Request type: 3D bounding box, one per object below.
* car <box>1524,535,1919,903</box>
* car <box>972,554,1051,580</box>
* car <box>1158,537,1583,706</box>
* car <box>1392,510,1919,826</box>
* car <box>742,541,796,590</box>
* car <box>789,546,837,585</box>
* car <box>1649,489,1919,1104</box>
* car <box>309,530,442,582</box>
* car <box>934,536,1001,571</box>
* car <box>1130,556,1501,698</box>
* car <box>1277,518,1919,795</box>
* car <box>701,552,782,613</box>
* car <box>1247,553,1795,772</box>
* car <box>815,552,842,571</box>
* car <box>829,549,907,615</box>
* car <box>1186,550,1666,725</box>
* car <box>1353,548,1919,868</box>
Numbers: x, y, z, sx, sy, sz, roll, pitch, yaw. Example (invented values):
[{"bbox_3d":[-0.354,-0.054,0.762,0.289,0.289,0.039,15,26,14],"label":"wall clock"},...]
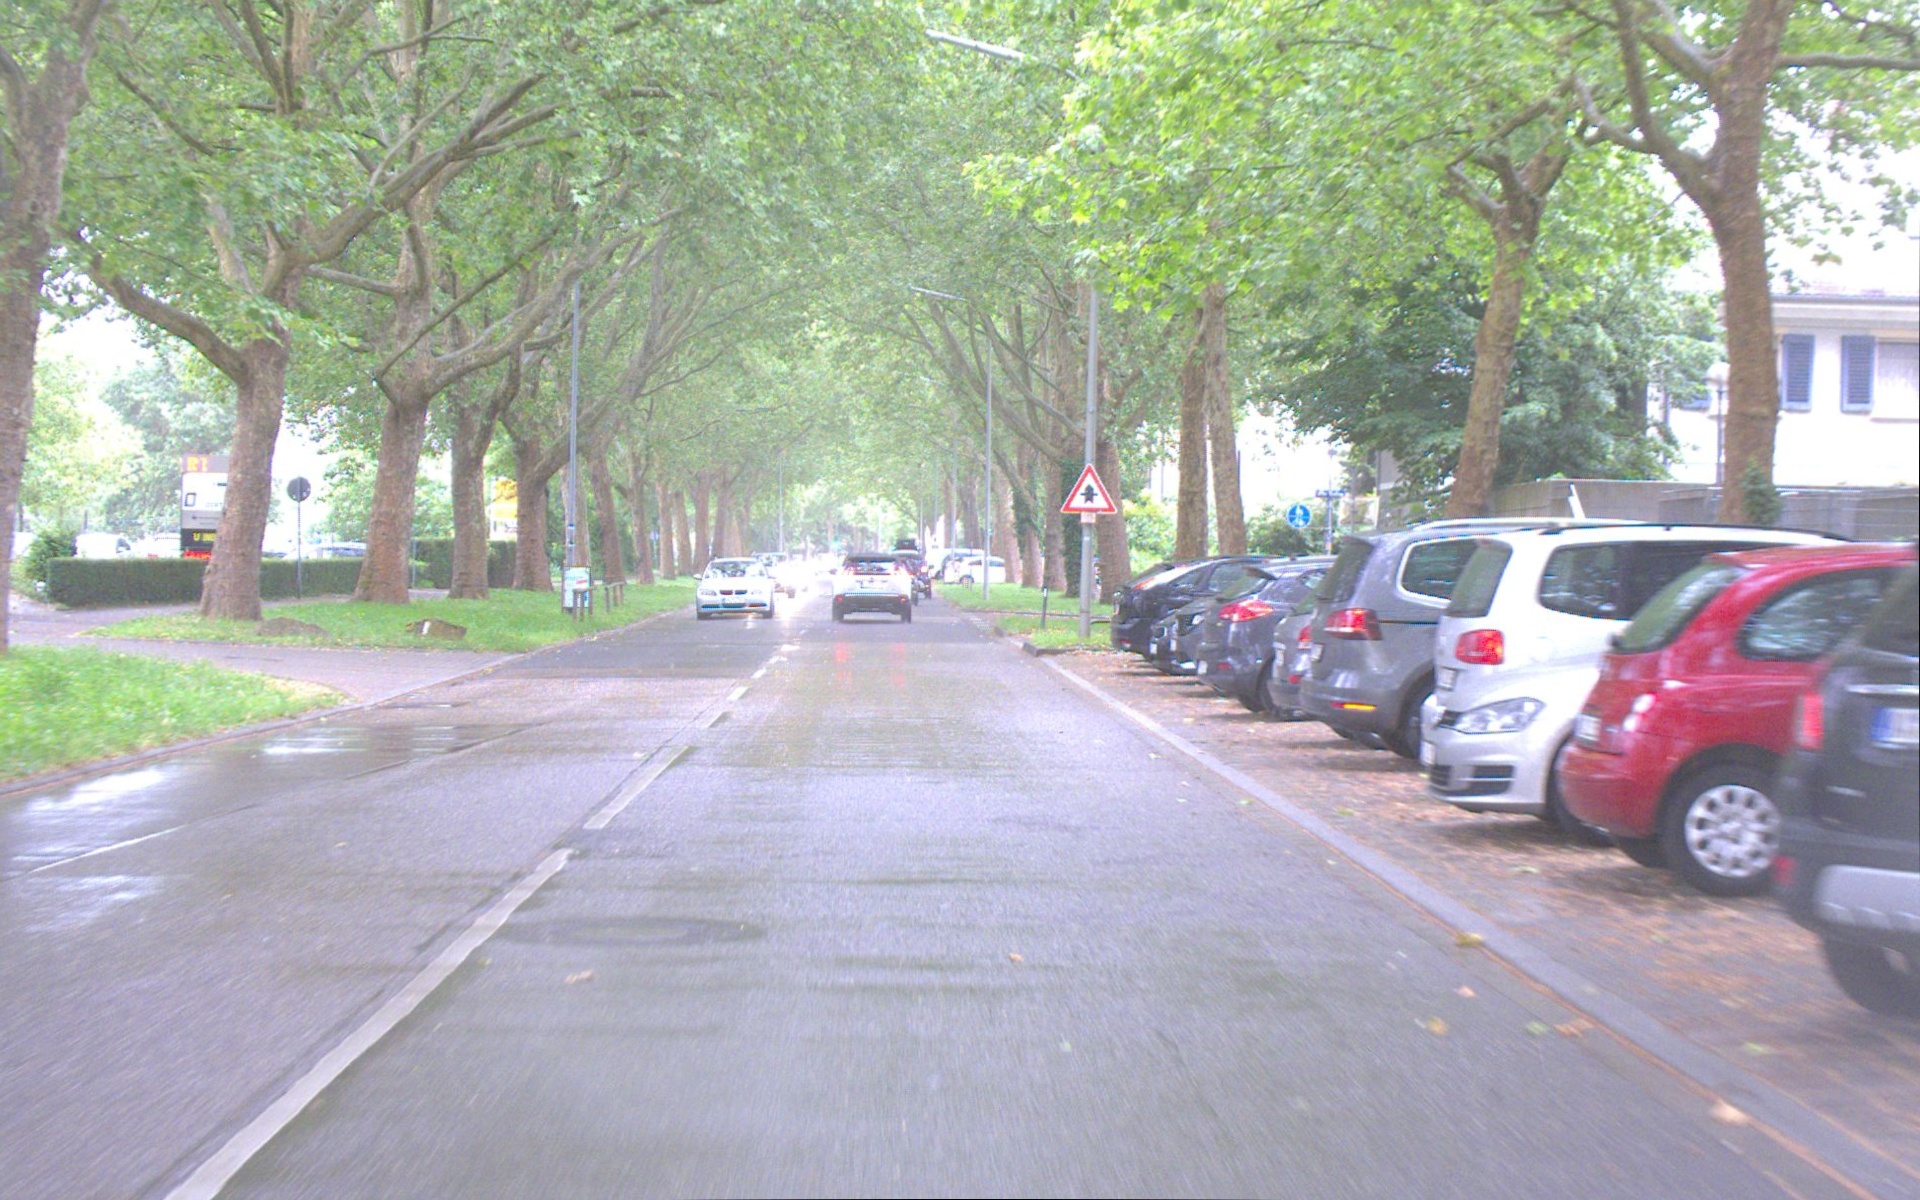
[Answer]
[{"bbox_3d":[4.495,0.476,15.330,3.704,1.531,1.738,-1,1,2],"label":"car"},{"bbox_3d":[2.397,-1.544,159.770,3.546,1.151,1.712,-1,1,-4],"label":"car"},{"bbox_3d":[4.302,0.206,36.524,4.210,1.650,1.914,1,1,-1],"label":"car"},{"bbox_3d":[4.735,0.392,20.672,3.987,1.721,1.801,2,1,0],"label":"car"},{"bbox_3d":[-6.804,-1.264,122.713,1.809,1.678,4.449,-1,1,-2],"label":"car"},{"bbox_3d":[-5.542,-1.306,130.054,1.706,1.406,3.645,-1,1,-1],"label":"car"},{"bbox_3d":[4.247,0.497,10.673,3.855,1.691,1.838,-2,3,-29],"label":"car"},{"bbox_3d":[-19.000,-1.434,111.911,3.987,1.617,2.000,1,1,-1],"label":"car"},{"bbox_3d":[0.410,-2.543,187.579,3.546,1.835,1.712,-1,1,-2],"label":"car"},{"bbox_3d":[4.110,0.303,40.123,4.041,1.525,1.781,1,1,-3],"label":"car"},{"bbox_3d":[4.535,0.370,24.350,4.337,1.756,1.819,2,1,-1],"label":"car"},{"bbox_3d":[-5.175,-0.441,81.749,1.678,1.384,4.549,0,1,-1],"label":"car"},{"bbox_3d":[4.357,0.466,27.088,3.987,1.532,1.631,2,1,-1],"label":"car"},{"bbox_3d":[-9.099,-2.686,237.837,1.720,1.250,4.000,2,1,-1],"label":"car"},{"bbox_3d":[-2.059,-0.417,77.454,1.706,1.406,3.645,-1,1,-1],"label":"car"},{"bbox_3d":[4.177,0.319,31.197,4.035,1.436,1.686,-1,1,-4],"label":"car"},{"bbox_3d":[4.224,0.554,18.134,3.986,1.507,1.801,2,1,-2],"label":"car"}]
